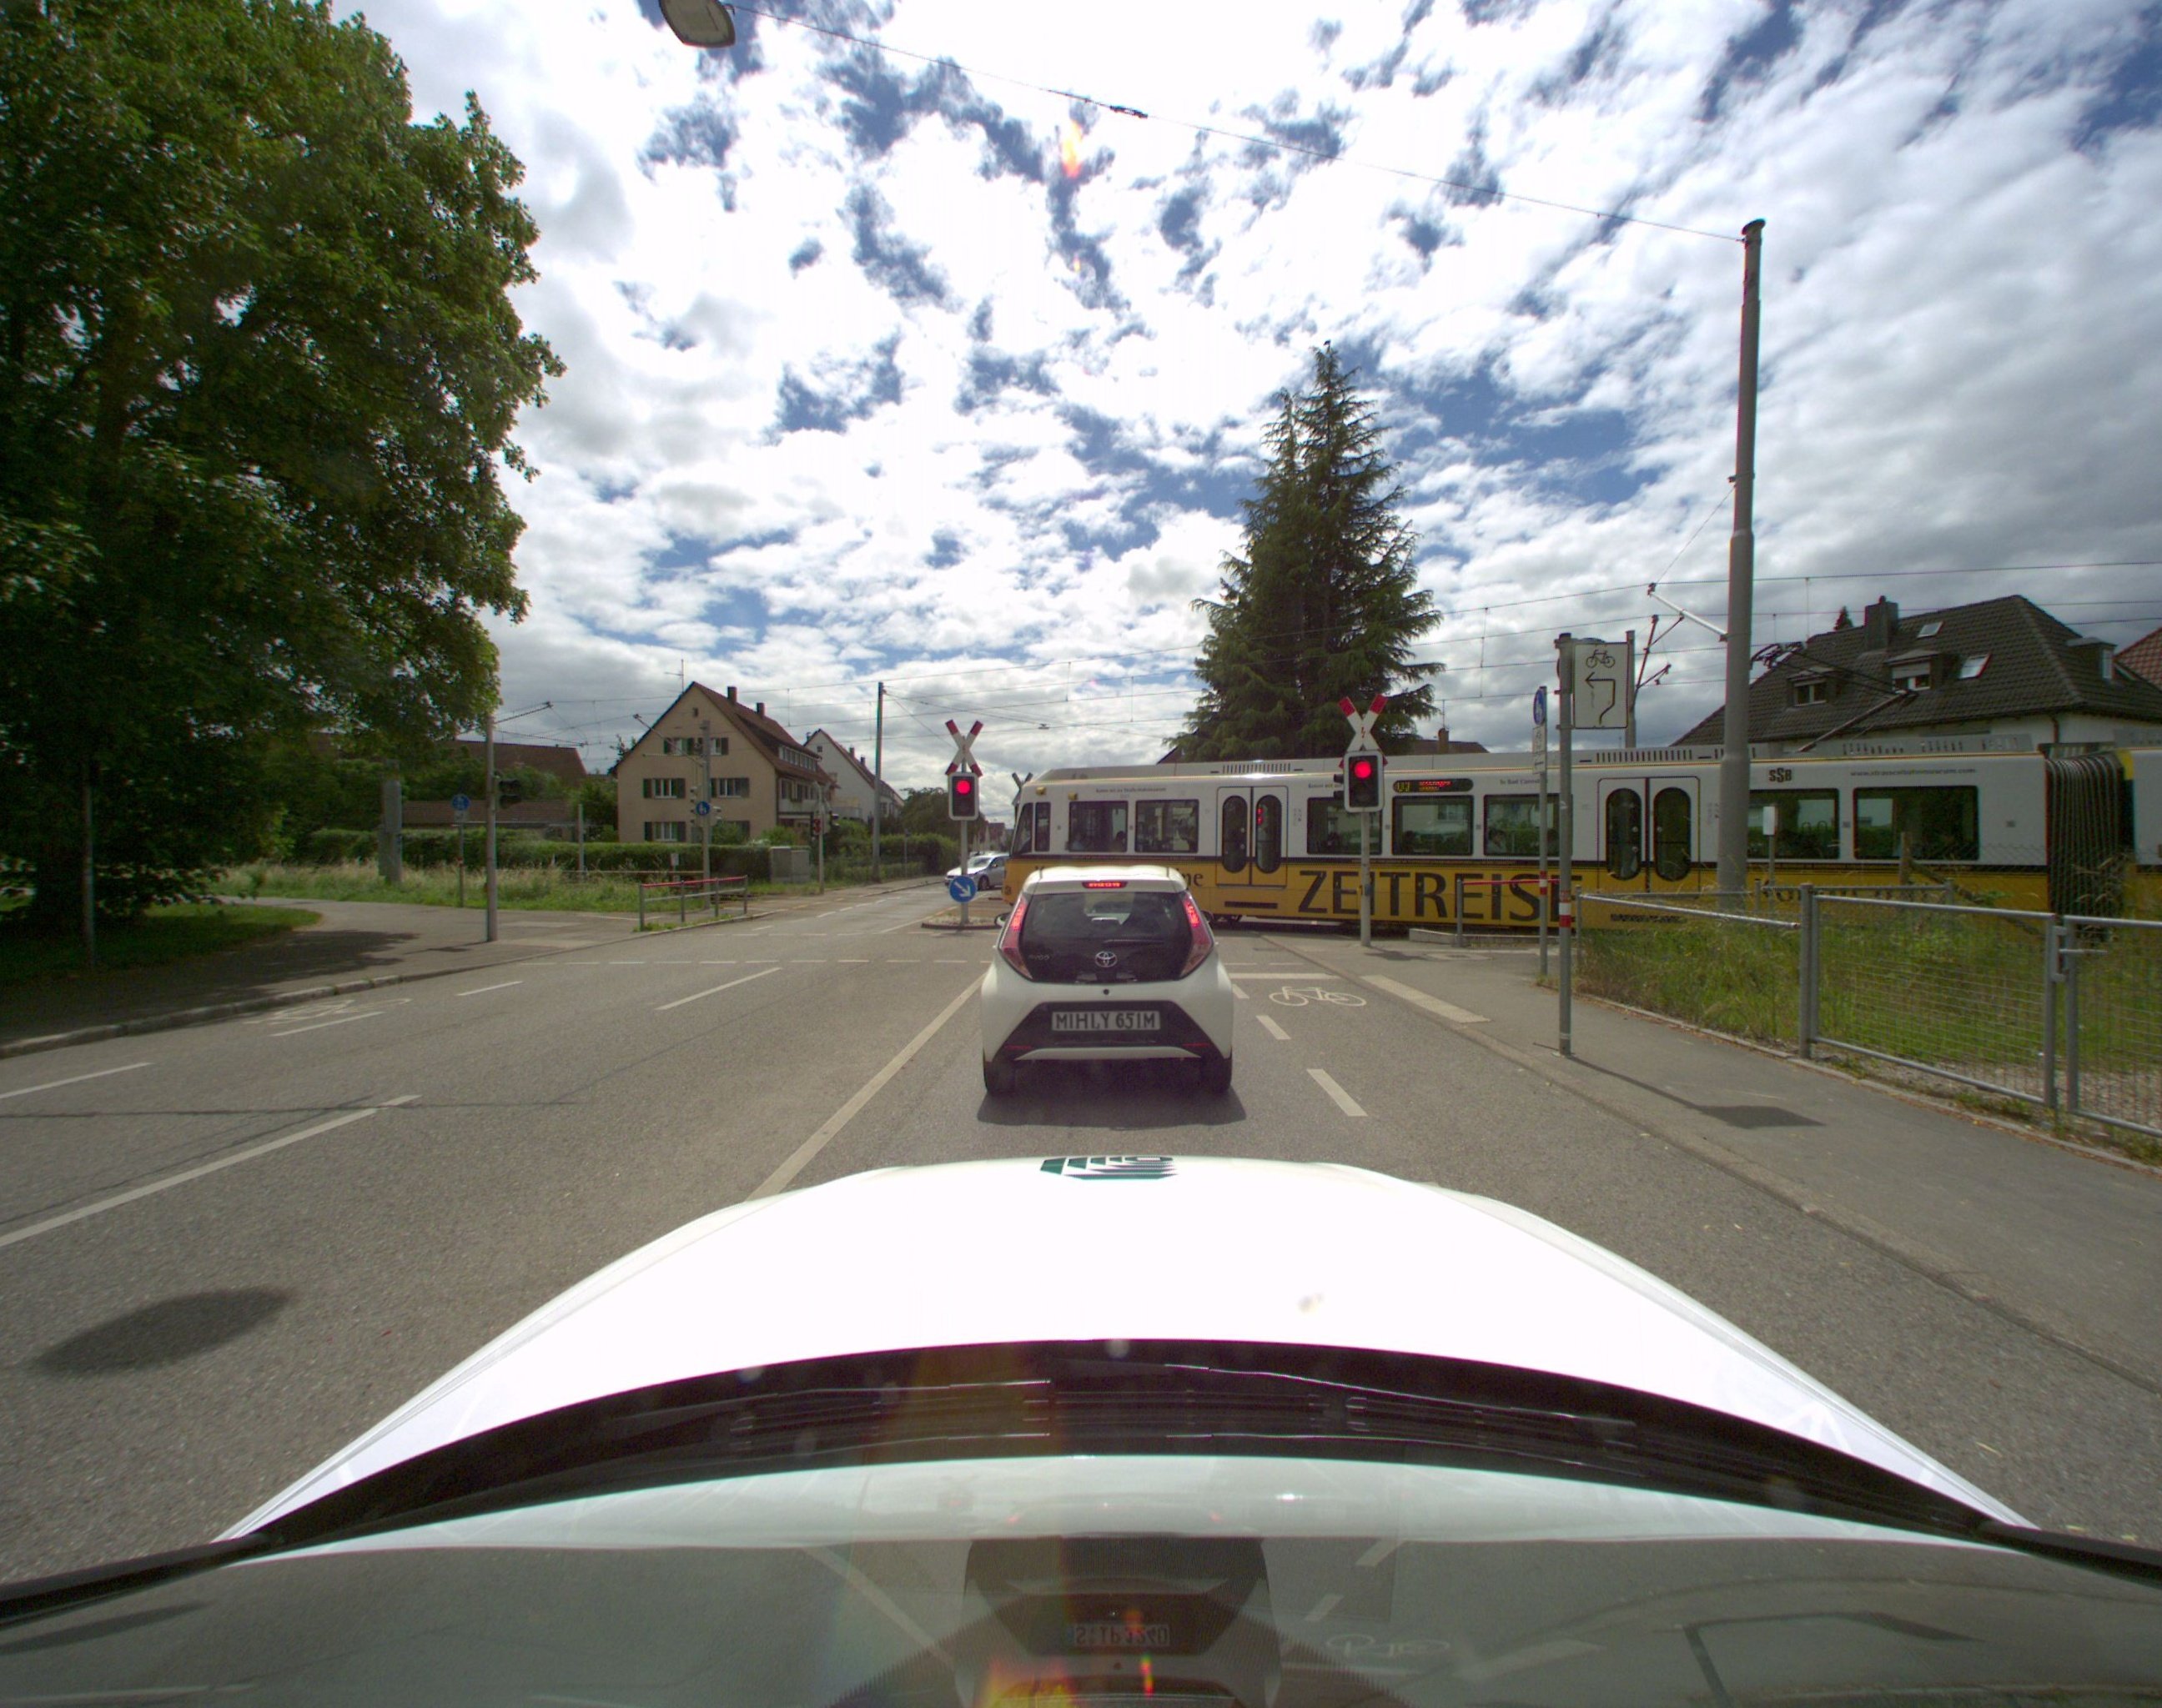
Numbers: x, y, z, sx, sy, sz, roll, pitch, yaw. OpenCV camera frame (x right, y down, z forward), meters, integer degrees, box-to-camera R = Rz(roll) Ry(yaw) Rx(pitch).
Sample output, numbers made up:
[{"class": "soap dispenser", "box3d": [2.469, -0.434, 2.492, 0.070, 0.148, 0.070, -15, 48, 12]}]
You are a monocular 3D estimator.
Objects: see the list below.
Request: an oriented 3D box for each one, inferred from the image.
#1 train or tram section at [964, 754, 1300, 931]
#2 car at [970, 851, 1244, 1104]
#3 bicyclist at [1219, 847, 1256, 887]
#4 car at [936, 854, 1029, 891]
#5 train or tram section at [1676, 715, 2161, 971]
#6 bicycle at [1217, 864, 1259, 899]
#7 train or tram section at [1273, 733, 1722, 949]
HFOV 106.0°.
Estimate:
[{"class": "train or tram section", "box3d": [1.208, -0.282, 19.956, 7.622, 3.721, 2.886, 1, 0, 24]}, {"class": "car", "box3d": [0.216, 0.756, 6.860, 1.615, 1.486, 4.001, -1, -1, 2]}, {"class": "bicyclist", "box3d": [5.061, 0.422, 26.268, 0.923, 1.247, 1.108, -2, 0, 23]}, {"class": "car", "box3d": [-4.108, 0.747, 34.653, 1.672, 1.458, 4.095, 0, 0, 34]}, {"class": "train or tram section", "box3d": [15.049, -0.174, 13.766, 7.622, 3.721, 2.886, 1, 0, 24]}, {"class": "bicycle", "box3d": [5.109, 0.869, 26.355, 0.923, 1.040, 1.925, -2, 0, 23]}, {"class": "train or tram section", "box3d": [8.127, -0.259, 16.862, 7.622, 3.721, 2.886, 1, 0, 24]}]
